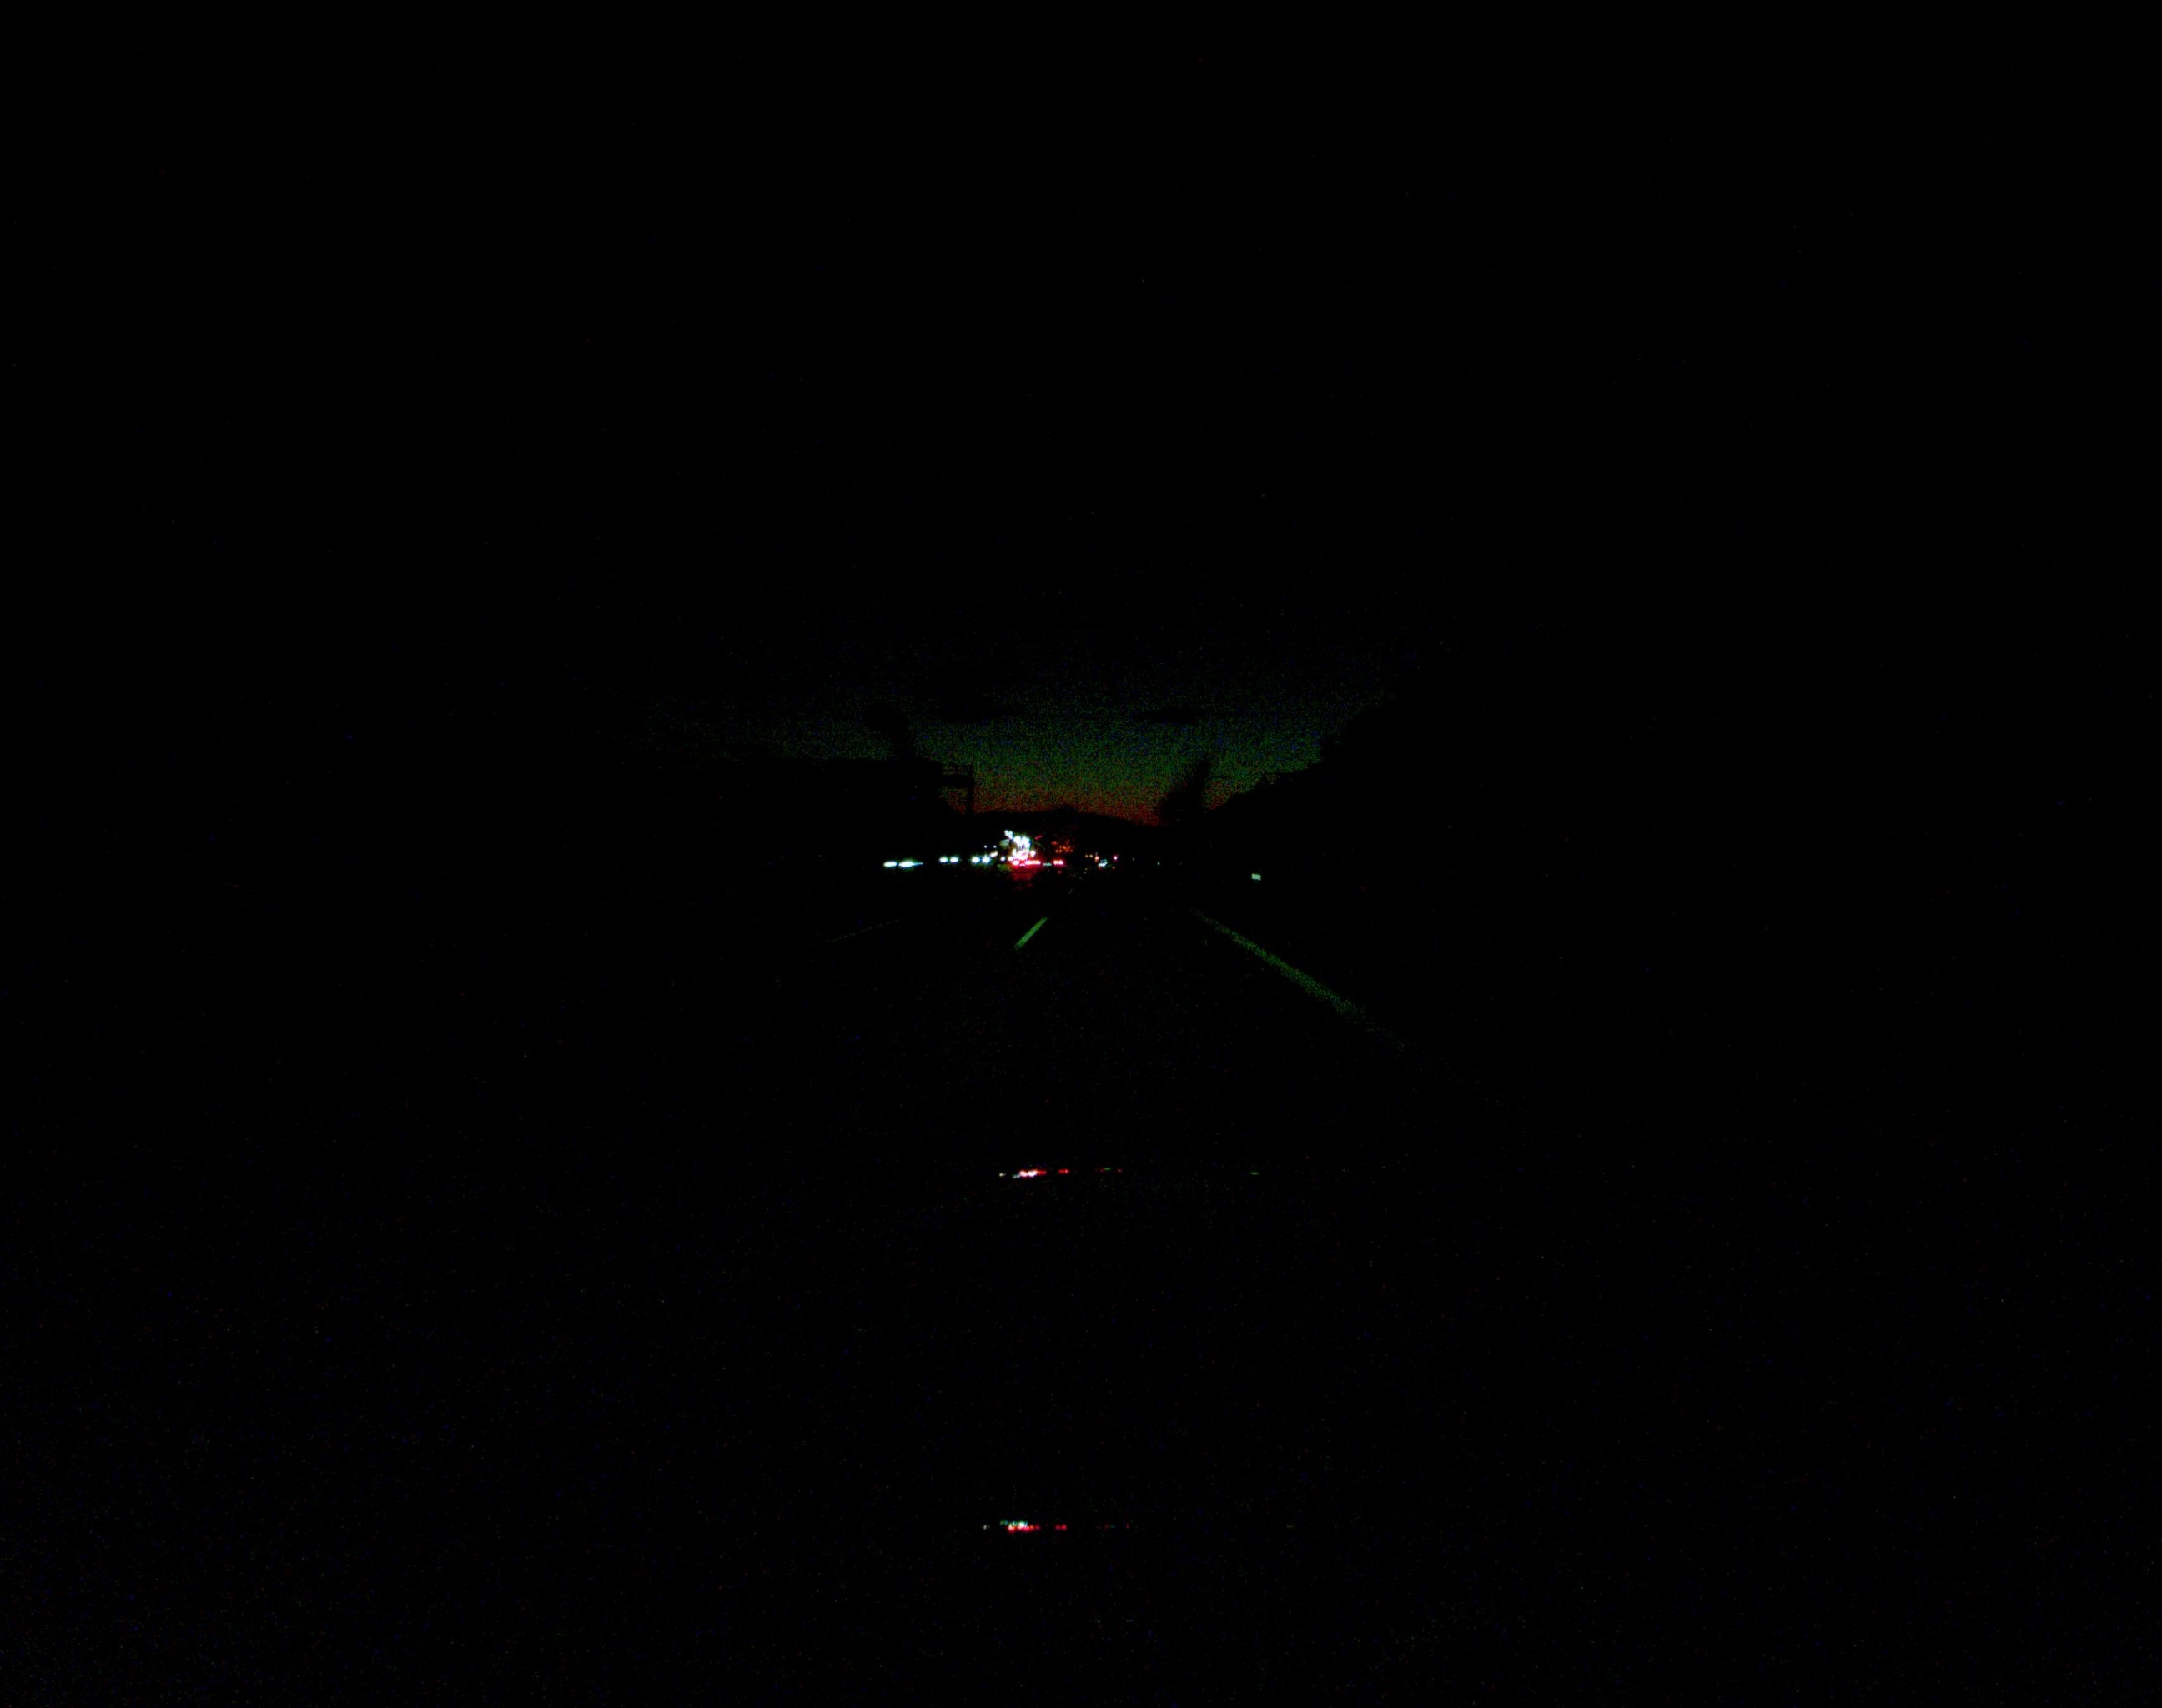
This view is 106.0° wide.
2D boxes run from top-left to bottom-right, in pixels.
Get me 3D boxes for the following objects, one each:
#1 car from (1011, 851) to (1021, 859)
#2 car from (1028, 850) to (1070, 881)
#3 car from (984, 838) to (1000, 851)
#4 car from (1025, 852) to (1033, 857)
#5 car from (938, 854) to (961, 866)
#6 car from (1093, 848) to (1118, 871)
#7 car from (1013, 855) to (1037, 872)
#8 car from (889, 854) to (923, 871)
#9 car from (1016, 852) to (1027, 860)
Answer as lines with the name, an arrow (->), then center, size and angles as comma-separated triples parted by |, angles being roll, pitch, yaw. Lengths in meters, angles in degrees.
car -> -17.310, 0.279, 216.870 | 2.138, 1.885, 5.424 | 0, 0, 0
car -> -1.834, 0.640, 48.432 | 1.986, 1.721, 5.945 | -1, 0, 2
car -> -20.035, -2.113, 183.986 | 2.449, 2.936, 8.333 | 0, 0, 1
car -> -15.774, 0.138, 246.522 | 1.987, 1.734, 4.659 | 0, 0, 0
car -> -16.636, 0.731, 103.466 | 1.986, 1.509, 5.186 | 0, 0, 1
car -> 2.168, 0.447, 73.315 | 2.189, 1.955, 4.764 | -1, 1, 1
car -> -5.049, 0.841, 73.650 | 1.544, 1.431, 5.517 | -1, 0, 2
car -> -16.325, 0.808, 76.175 | 1.987, 1.509, 5.202 | 0, 0, 0
car -> -13.058, 0.435, 178.018 | 1.986, 1.734, 4.660 | 0, 0, 1
